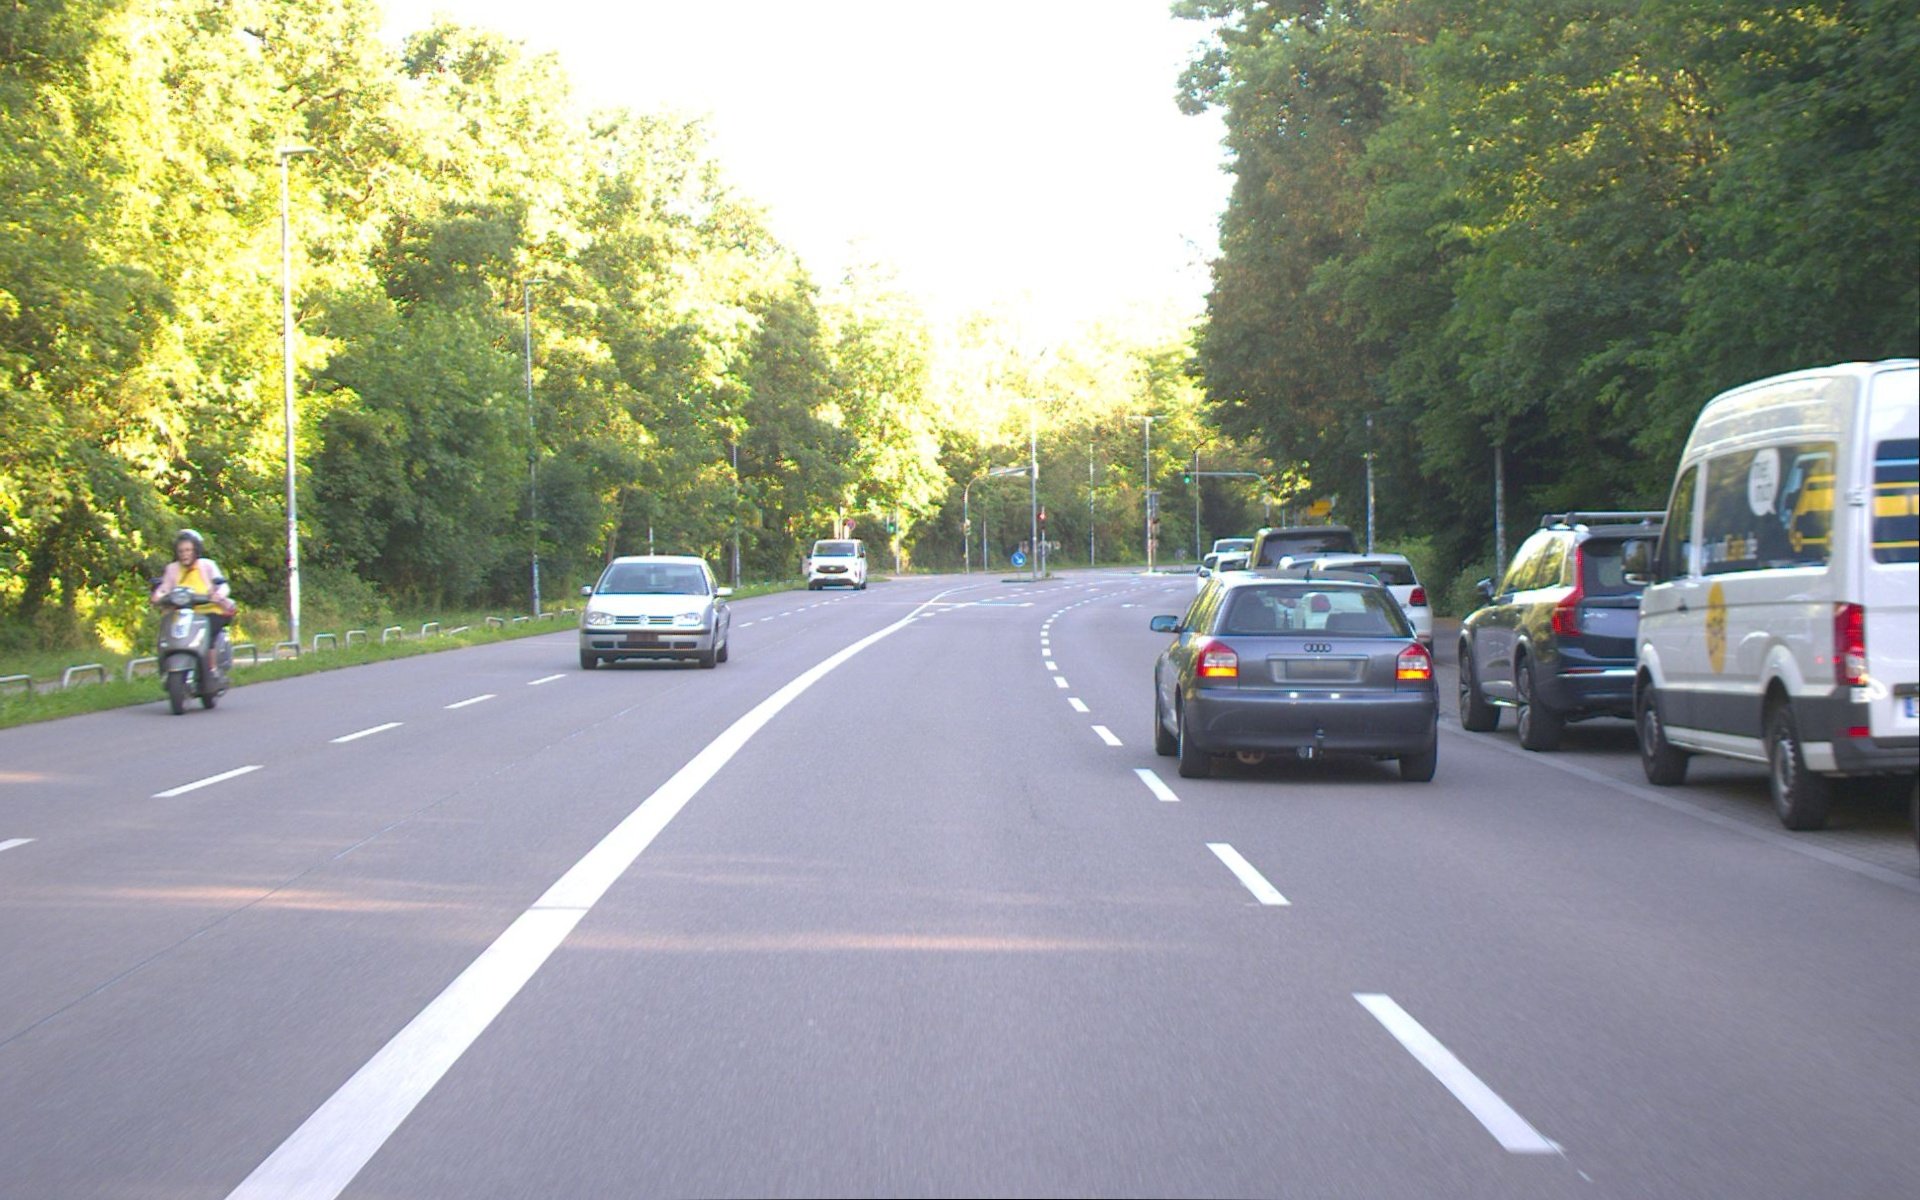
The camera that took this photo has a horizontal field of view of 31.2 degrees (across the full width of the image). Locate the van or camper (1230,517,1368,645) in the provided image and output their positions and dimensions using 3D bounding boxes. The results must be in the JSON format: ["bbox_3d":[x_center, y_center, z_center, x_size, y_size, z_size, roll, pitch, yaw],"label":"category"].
[{"bbox_3d":[5.584,-0.349,57.223,1.893,1.942,5.134,-2,1,2],"label":"van or camper"}]

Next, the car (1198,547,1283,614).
[{"bbox_3d":[6.437,-0.470,79.250,1.728,1.436,4.666,-2,1,3],"label":"car"}]

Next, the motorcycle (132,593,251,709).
[{"bbox_3d":[-7.001,0.451,31.403,0.636,0.992,2.077,0,1,-1],"label":"motorcycle"}]

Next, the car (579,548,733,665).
[{"bbox_3d":[-3.907,0.052,44.639,1.681,1.402,3.890,-1,1,-1],"label":"car"}]

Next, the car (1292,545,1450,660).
[{"bbox_3d":[5.458,0.002,46.045,1.728,1.436,4.100,-1,1,2],"label":"car"}]

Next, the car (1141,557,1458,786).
[{"bbox_3d":[2.273,0.430,23.973,1.727,1.436,4.090,0,1,-1],"label":"car"}]

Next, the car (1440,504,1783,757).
[{"bbox_3d":[5.205,0.178,28.123,1.829,1.861,5.074,-1,1,0],"label":"car"}]

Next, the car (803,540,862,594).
[{"bbox_3d":[-4.929,-1.266,133.764,1.993,1.985,4.997,2,0,1],"label":"car"}]

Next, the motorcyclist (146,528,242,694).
[{"bbox_3d":[-7.002,0.099,31.444,0.724,1.500,0.672,0,1,-1],"label":"motorcyclist"}]

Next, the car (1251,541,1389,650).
[{"bbox_3d":[5.345,-0.096,51.452,1.728,1.538,4.217,-1,1,2],"label":"car"}]

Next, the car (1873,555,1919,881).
[{"bbox_3d":[5.269,0.560,14.506,1.723,1.491,4.145,-1,1,0],"label":"car"}]

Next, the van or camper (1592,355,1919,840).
[{"bbox_3d":[5.500,-0.083,20.798,2.119,2.509,5.980,-1,1,-1],"label":"van or camper"}]

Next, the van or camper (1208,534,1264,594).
[{"bbox_3d":[9.348,-1.229,116.470,1.832,1.964,5.341,0,1,4],"label":"van or camper"}]

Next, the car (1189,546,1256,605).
[{"bbox_3d":[7.201,-0.676,94.153,1.728,1.517,4.089,-2,0,5],"label":"car"}]
